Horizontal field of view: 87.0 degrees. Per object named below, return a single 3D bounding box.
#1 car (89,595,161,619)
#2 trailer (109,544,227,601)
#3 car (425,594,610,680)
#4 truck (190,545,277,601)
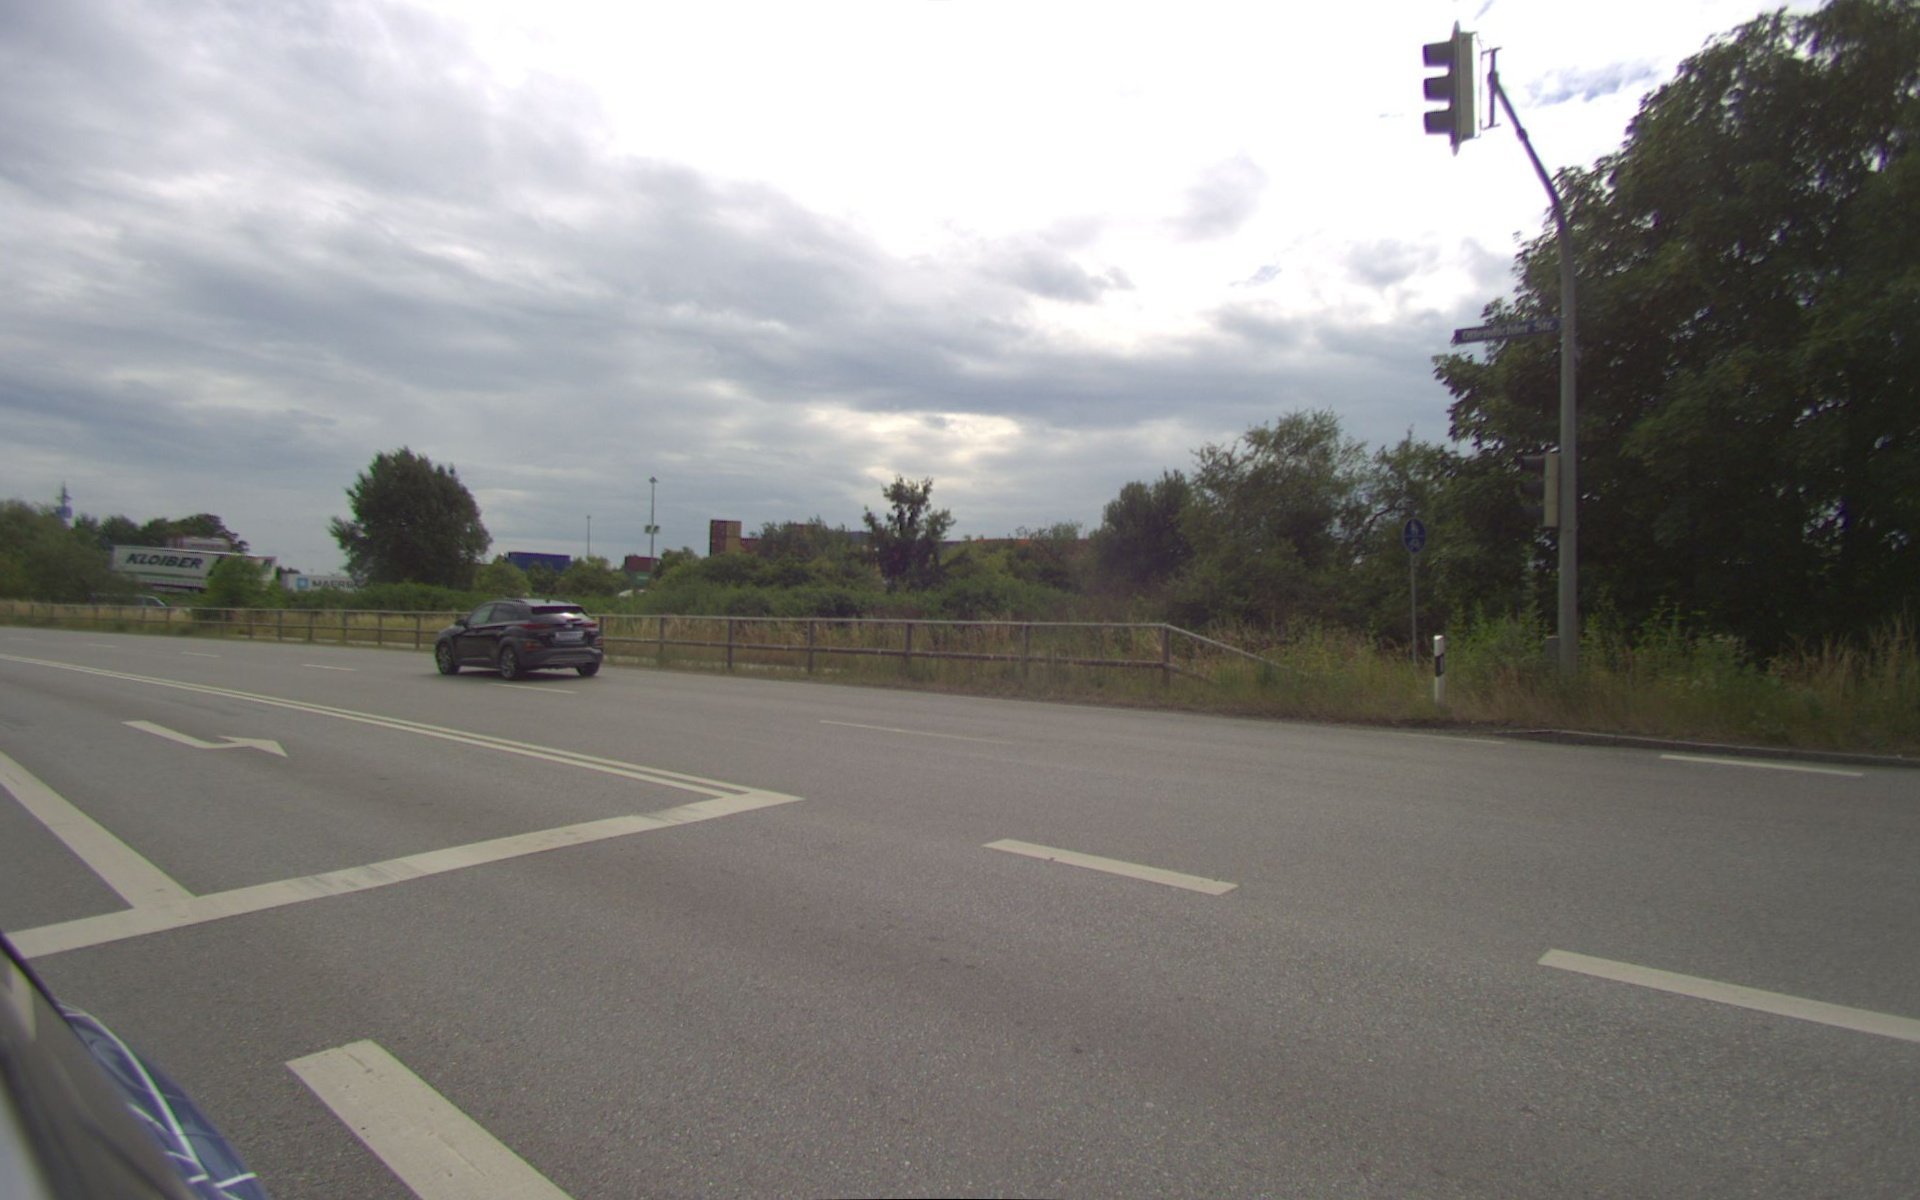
[{"bbox_3d":[-67.435,0.549,81.806,4.473,1.890,2.004,0,1,-39],"label":"car"},{"bbox_3d":[-73.106,-2.537,93.511,8.860,5.034,2.807,1,1,1],"label":"trailer"},{"bbox_3d":[-8.982,0.692,20.433,3.995,1.585,1.774,0,-1,39],"label":"car"},{"bbox_3d":[-66.999,-2.474,93.402,6.104,5.034,2.804,1,1,1],"label":"truck"}]
